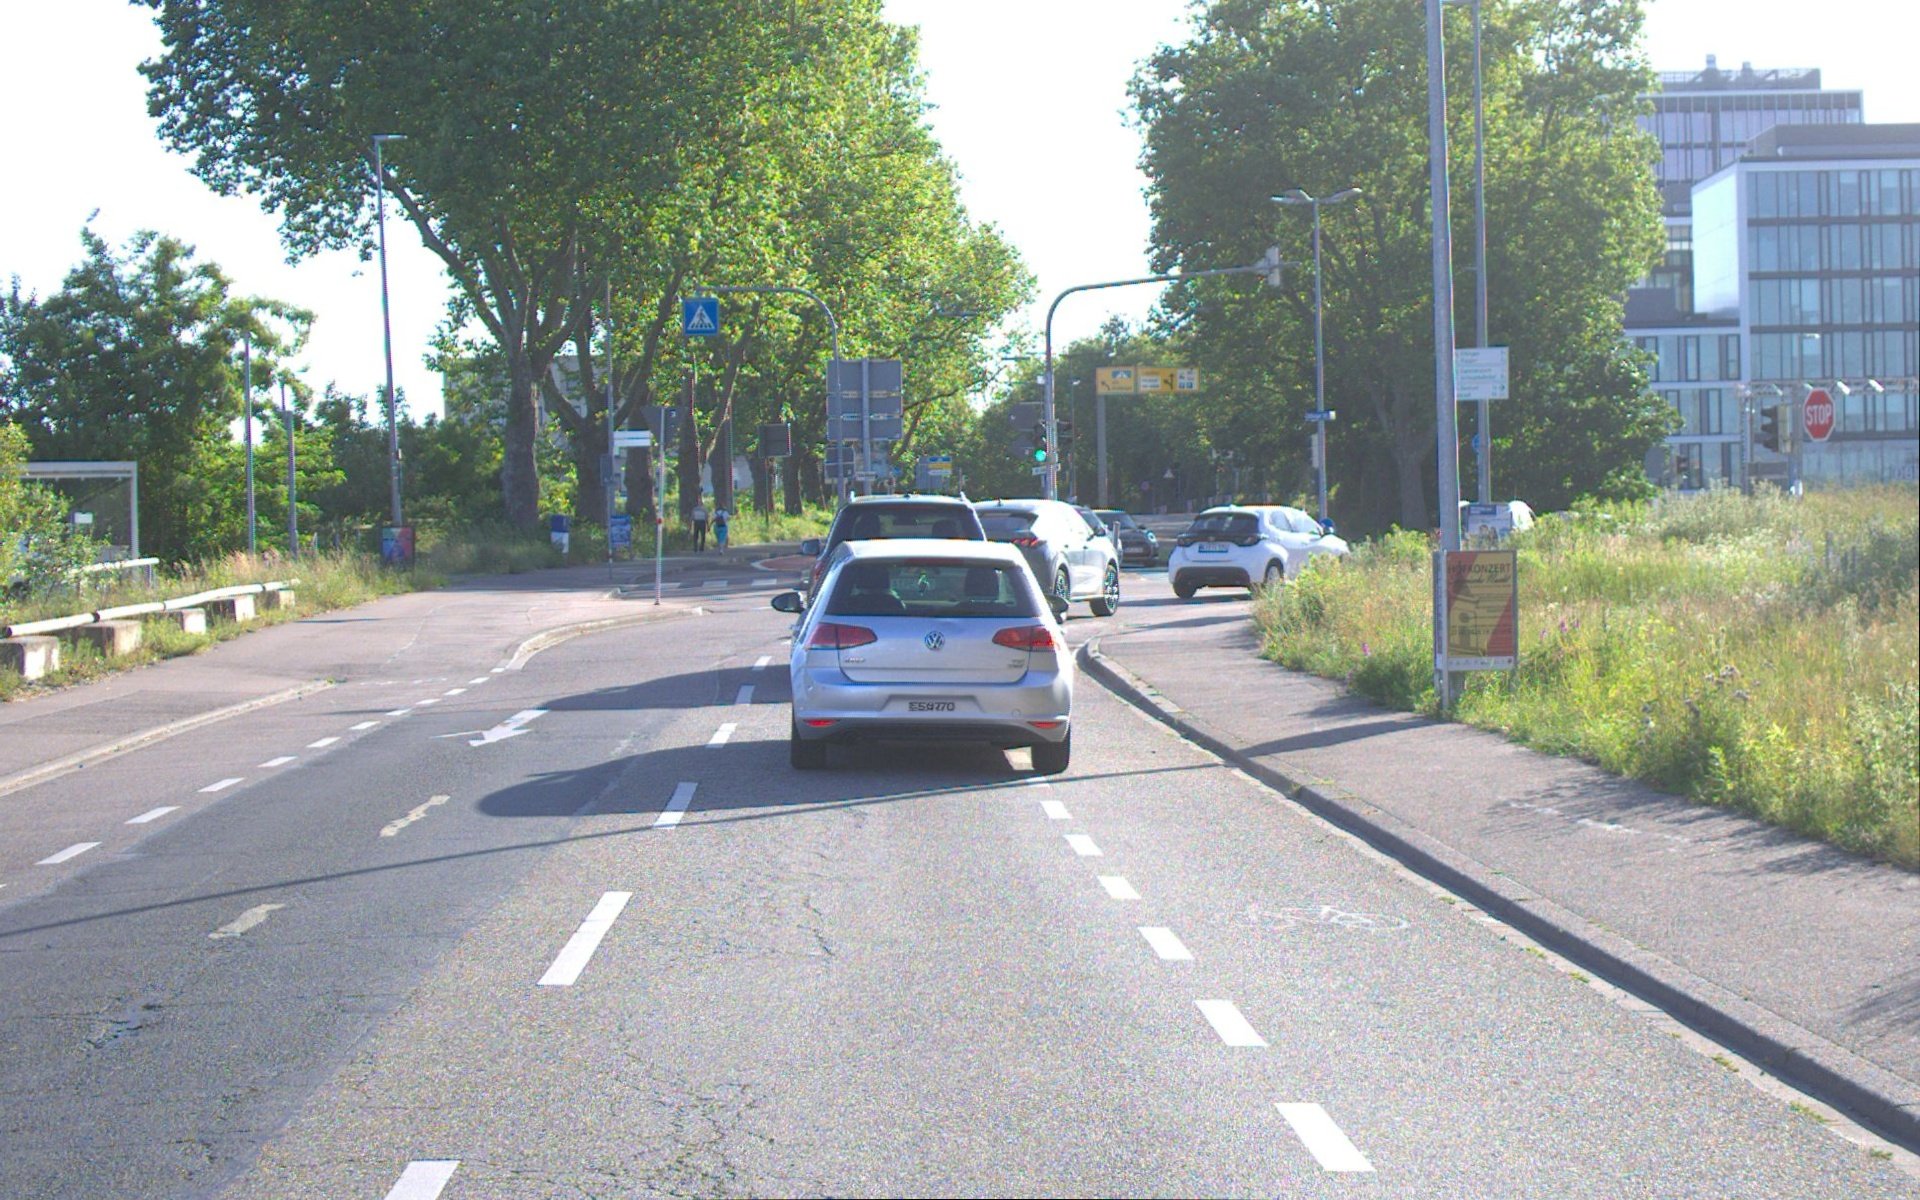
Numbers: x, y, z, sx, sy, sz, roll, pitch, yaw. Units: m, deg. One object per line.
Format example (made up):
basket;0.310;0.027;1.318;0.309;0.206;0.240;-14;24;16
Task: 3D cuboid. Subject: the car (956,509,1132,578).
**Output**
car;1.944;-1.335;80.577;1.994;1.590;3.999;-1;2;-39

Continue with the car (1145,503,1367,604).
car;4.896;-0.774;56.475;1.902;1.590;3.992;1;1;35

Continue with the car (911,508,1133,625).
car;0.903;-0.487;46.936;1.916;1.524;4.404;0;1;17

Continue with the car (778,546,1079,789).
car;-0.246;0.370;22.415;1.790;1.415;4.001;0;1;-2

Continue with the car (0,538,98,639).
car;-16.106;-0.194;54.540;4.425;1.552;1.878;0;1;-3

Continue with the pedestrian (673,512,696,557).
pedestrian;-8.520;-2.031;106.428;0.678;1.410;0.684;0;1;-1

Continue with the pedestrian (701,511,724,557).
pedestrian;-7.648;-2.032;106.384;0.678;1.410;0.684;0;1;-1

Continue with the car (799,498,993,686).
car;-0.639;-0.126;34.483;1.819;1.762;4.630;0;1;-1

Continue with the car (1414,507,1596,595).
car;10.774;-0.978;67.819;2.167;1.678;3.993;0;1;32
